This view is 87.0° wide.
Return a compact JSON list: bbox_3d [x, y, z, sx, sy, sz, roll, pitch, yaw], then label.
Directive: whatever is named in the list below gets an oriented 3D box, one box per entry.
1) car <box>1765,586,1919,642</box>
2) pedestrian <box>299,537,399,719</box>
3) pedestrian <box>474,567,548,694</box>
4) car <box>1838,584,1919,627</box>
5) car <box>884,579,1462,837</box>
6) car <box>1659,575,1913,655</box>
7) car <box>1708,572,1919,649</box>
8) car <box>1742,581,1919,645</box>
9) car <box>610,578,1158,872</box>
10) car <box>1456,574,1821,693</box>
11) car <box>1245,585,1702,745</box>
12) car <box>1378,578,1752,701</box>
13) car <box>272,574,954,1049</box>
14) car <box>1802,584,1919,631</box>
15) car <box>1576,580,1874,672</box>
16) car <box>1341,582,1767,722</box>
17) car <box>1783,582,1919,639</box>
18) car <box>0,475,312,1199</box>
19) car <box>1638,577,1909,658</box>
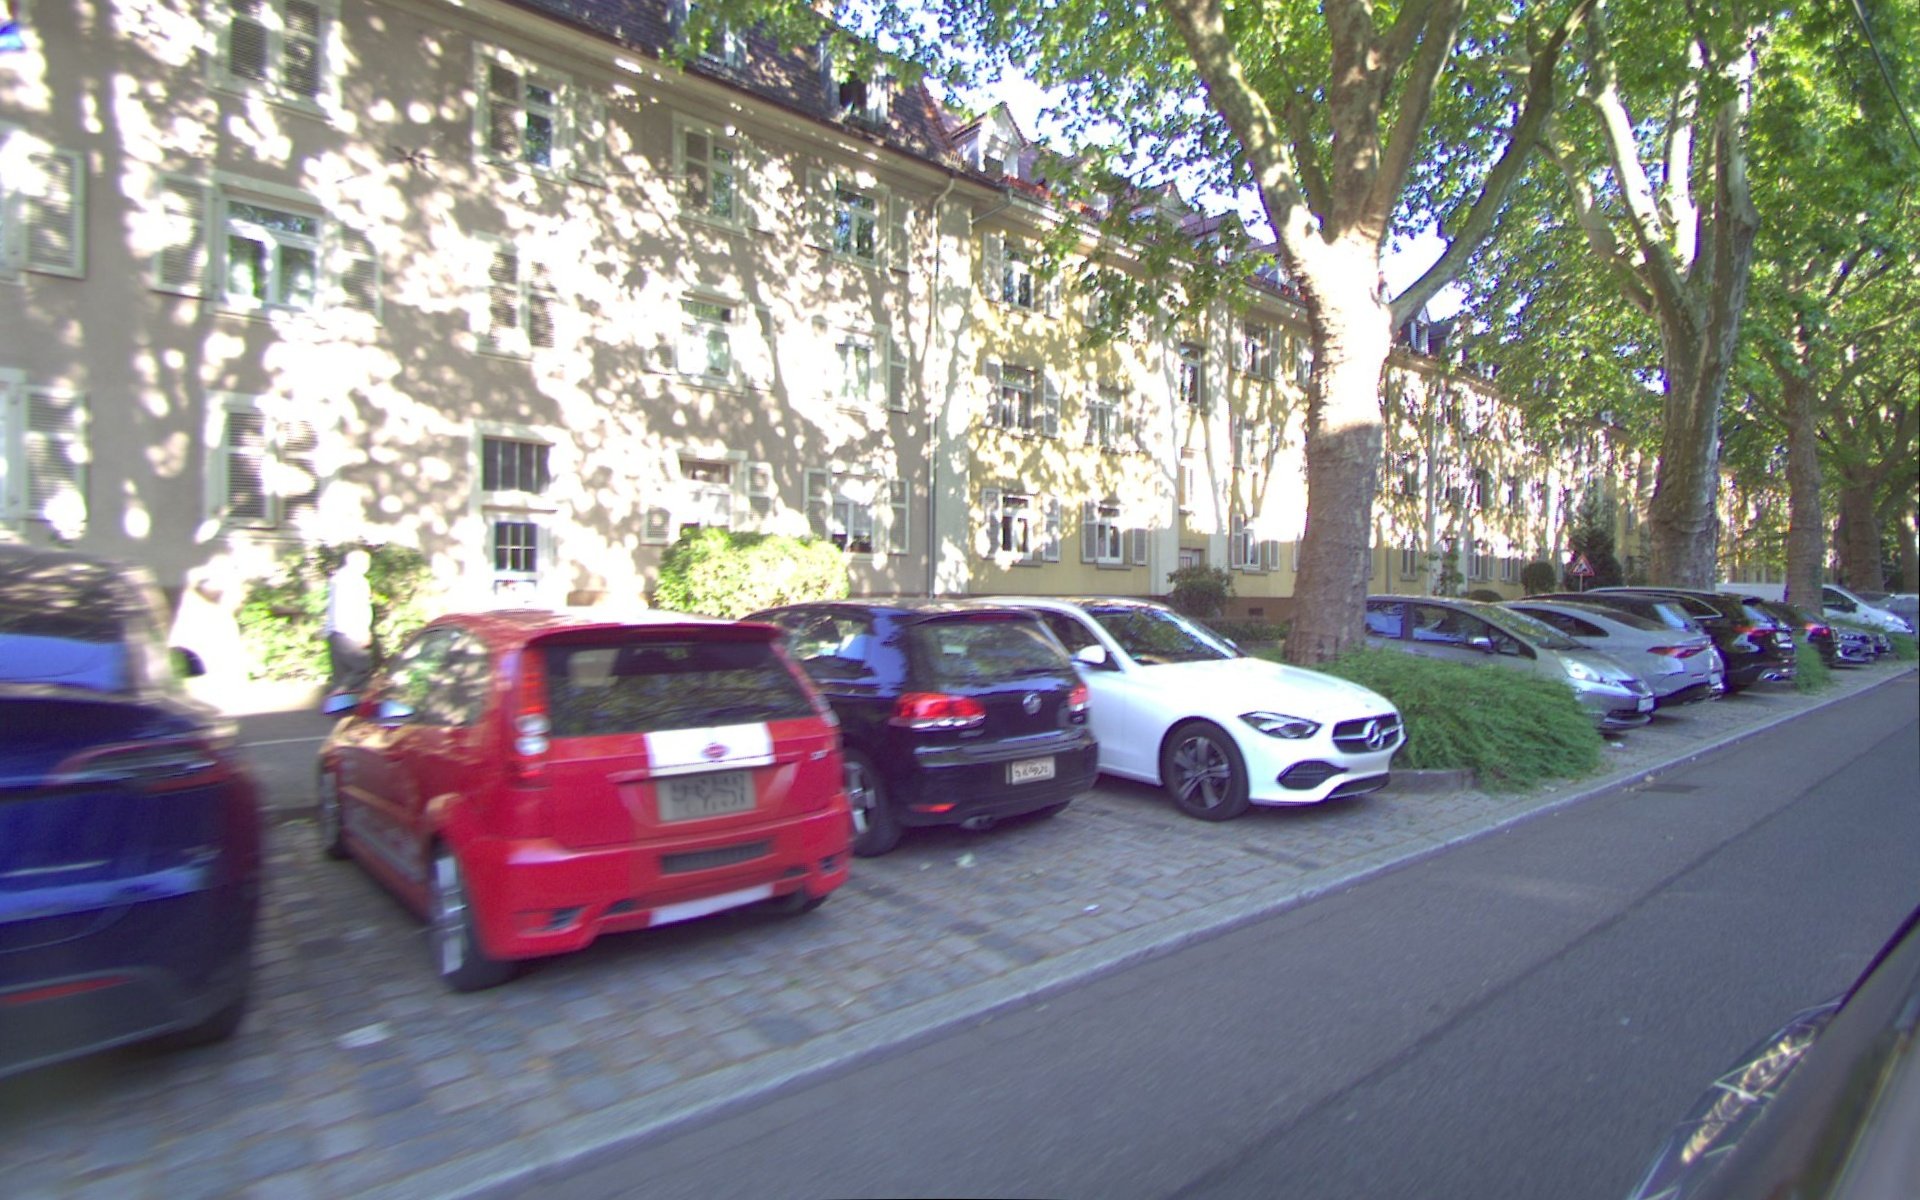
[{"bbox_3d":[29.254,0.420,32.825,1.858,1.661,4.613,1,1,-38],"label":"car"},{"bbox_3d":[-6.202,0.269,10.297,0.630,1.790,0.620,0,0,4],"label":"pedestrian"},{"bbox_3d":[-5.582,0.365,12.610,0.630,1.548,0.620,0,0,4],"label":"pedestrian"},{"bbox_3d":[40.008,0.234,42.372,1.858,1.737,4.613,1,1,-38],"label":"car"},{"bbox_3d":[1.417,0.616,8.445,1.858,1.513,4.613,1,1,-38],"label":"car"},{"bbox_3d":[20.503,0.301,25.310,1.858,1.814,4.613,1,1,-38],"label":"car"},{"bbox_3d":[24.937,0.239,29.535,1.858,2.039,4.638,1,1,-38],"label":"car"},{"bbox_3d":[27.328,0.368,31.327,1.858,1.814,4.613,1,1,-38],"label":"car"},{"bbox_3d":[-0.891,0.601,7.475,1.858,1.462,4.511,1,1,-38],"label":"car"},{"bbox_3d":[10.900,0.436,16.588,1.858,1.661,4.613,1,1,-38],"label":"car"},{"bbox_3d":[5.980,0.622,12.338,1.858,1.513,4.613,1,1,-38],"label":"car"},{"bbox_3d":[9.137,0.492,15.678,1.858,1.585,4.613,1,1,-38],"label":"car"},{"bbox_3d":[-2.187,0.629,5.417,1.861,1.462,4.362,1,1,-42],"label":"car"},{"bbox_3d":[36.272,0.279,39.737,1.858,1.737,4.613,1,1,-38],"label":"car"},{"bbox_3d":[15.708,0.458,21.033,1.858,1.661,4.613,1,1,-38],"label":"car"},{"bbox_3d":[7.765,0.555,13.686,1.858,1.513,4.613,1,1,-38],"label":"car"},{"bbox_3d":[31.036,0.320,34.278,1.858,1.814,4.613,1,1,-38],"label":"car"},{"bbox_3d":[-3.970,0.485,3.894,1.859,1.652,4.808,1,1,-40],"label":"car"},{"bbox_3d":[18.764,0.328,23.553,1.858,1.661,4.613,1,1,-38],"label":"car"}]
